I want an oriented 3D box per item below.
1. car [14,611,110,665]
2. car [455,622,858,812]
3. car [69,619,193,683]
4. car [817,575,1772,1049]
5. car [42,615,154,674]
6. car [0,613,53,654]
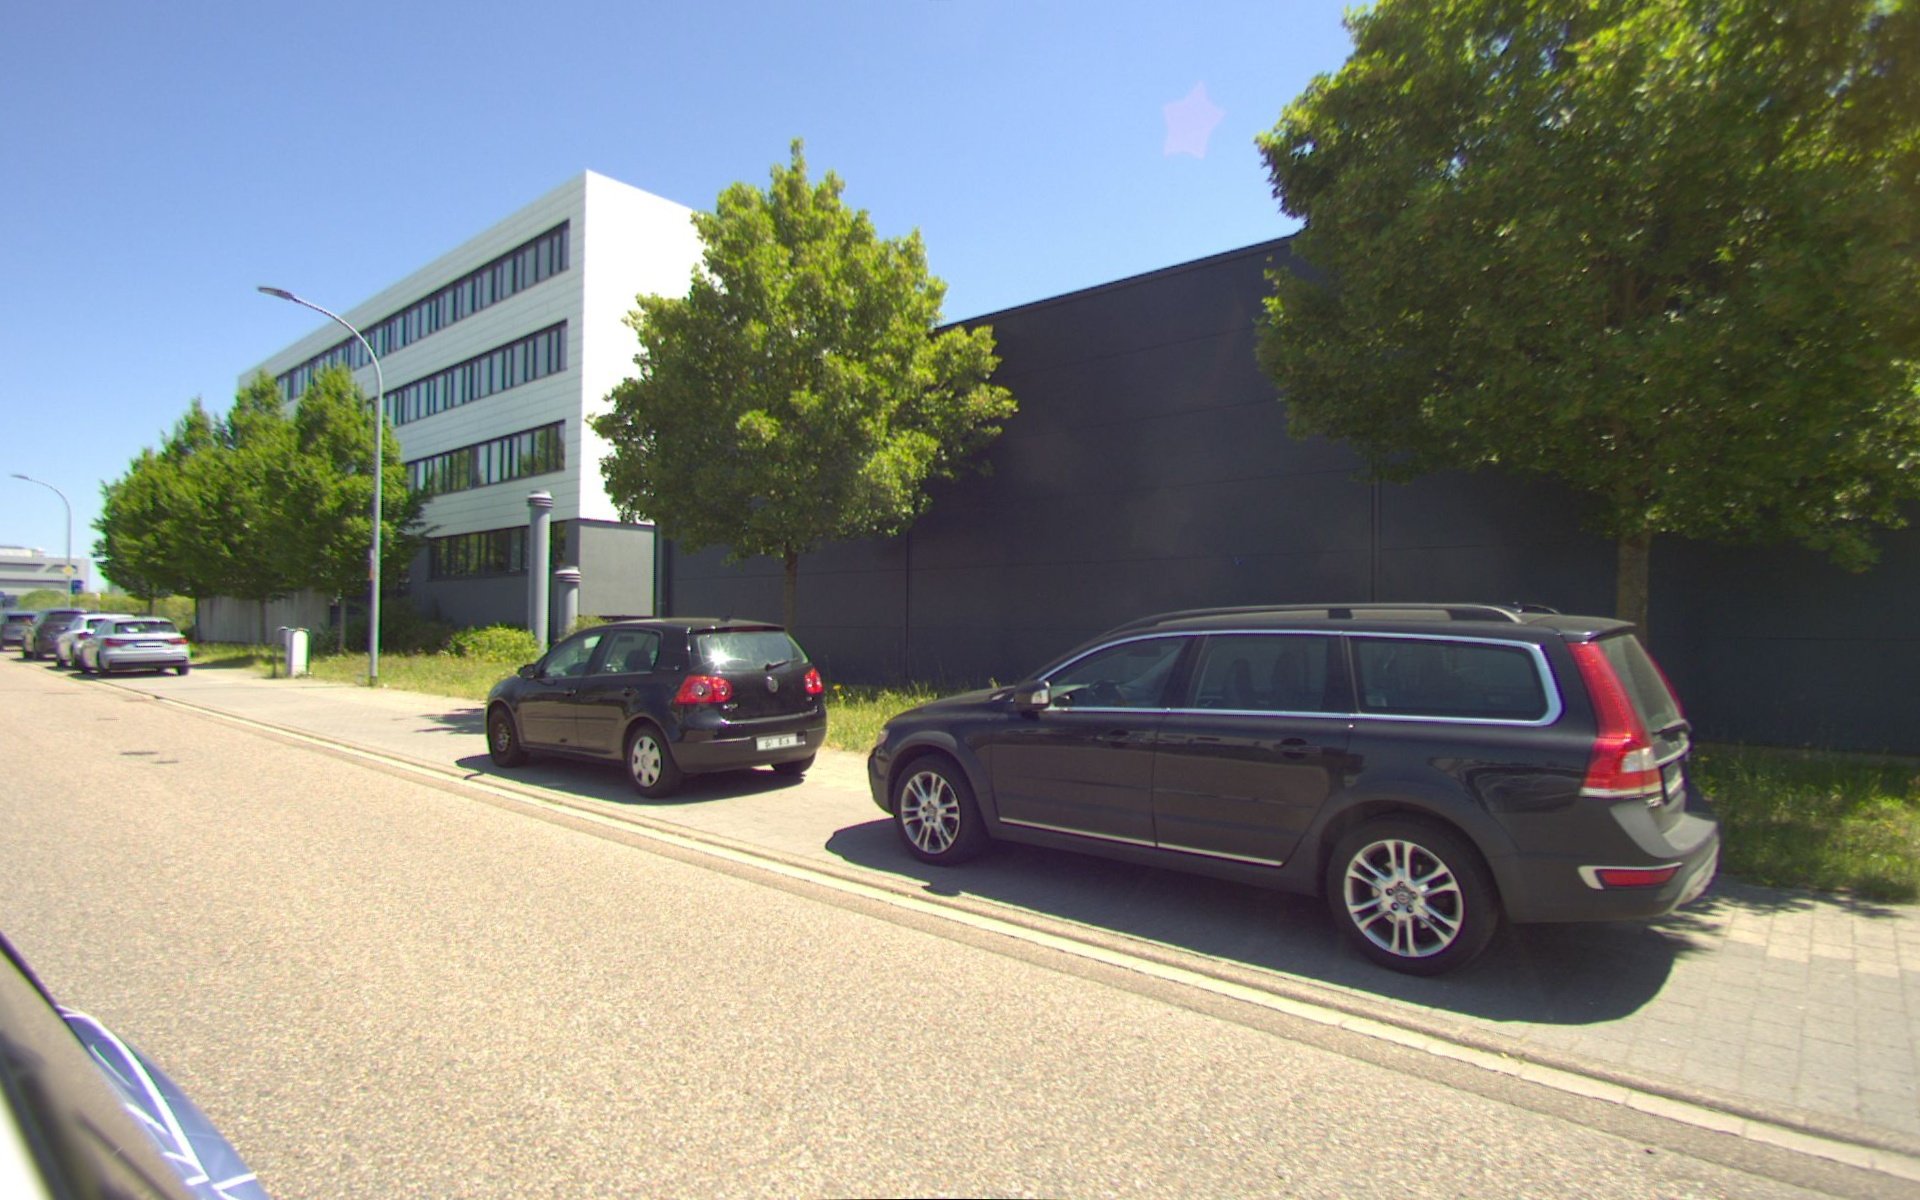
[{"bbox_3d":[-29.130,1.187,32.779,4.580,1.636,1.752,-1,-2,42],"label":"car"},{"bbox_3d":[-3.073,0.939,9.794,4.198,1.442,1.752,-1,-2,41],"label":"car"},{"bbox_3d":[-20.396,1.179,24.844,3.938,1.442,1.752,-1,-1,42],"label":"car"},{"bbox_3d":[1.461,0.770,5.737,4.849,1.624,1.752,-1,-2,41],"label":"car"},{"bbox_3d":[-24.007,1.187,28.137,4.199,1.441,1.752,-1,1,42],"label":"car"},{"bbox_3d":[-38.648,1.378,41.306,4.477,1.600,1.753,-2,-2,40],"label":"car"}]
